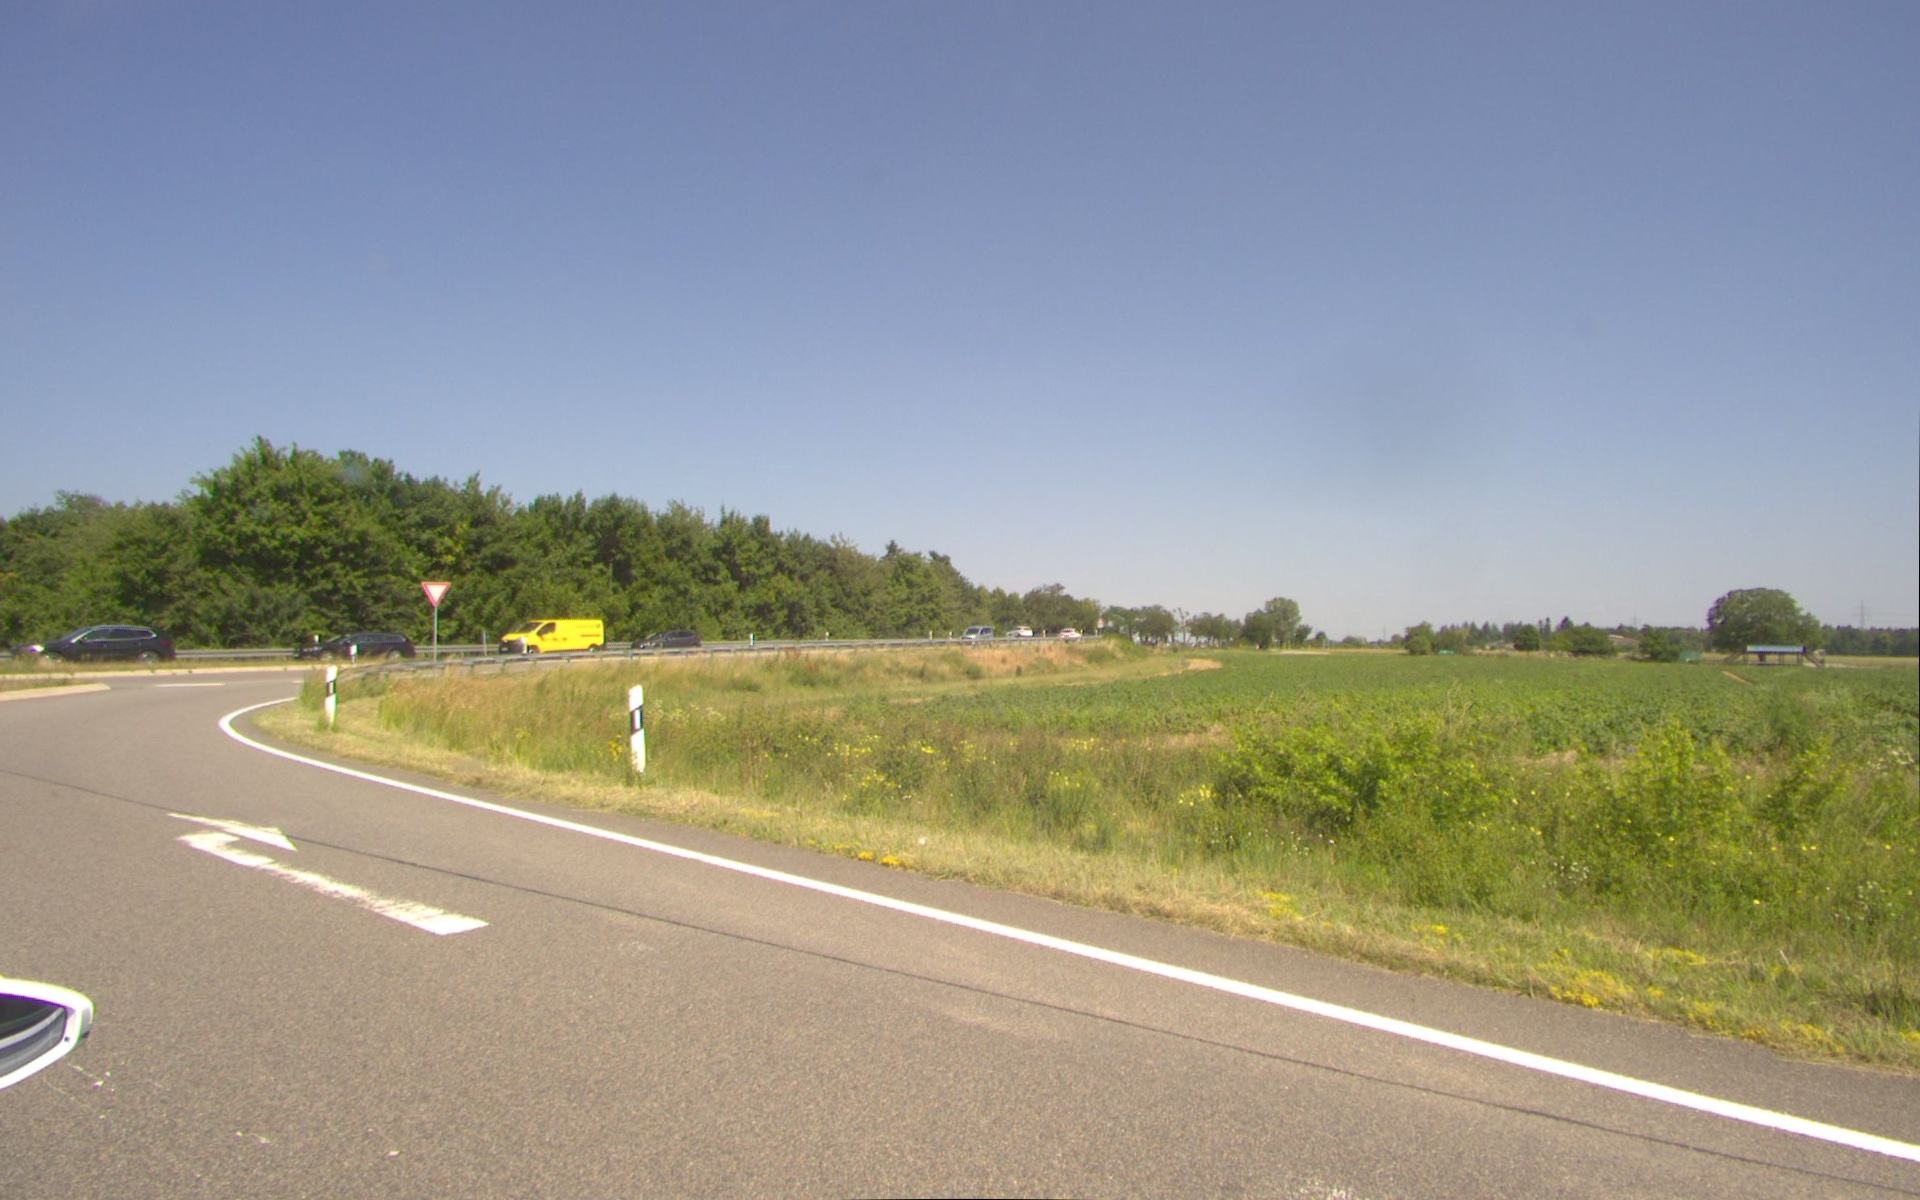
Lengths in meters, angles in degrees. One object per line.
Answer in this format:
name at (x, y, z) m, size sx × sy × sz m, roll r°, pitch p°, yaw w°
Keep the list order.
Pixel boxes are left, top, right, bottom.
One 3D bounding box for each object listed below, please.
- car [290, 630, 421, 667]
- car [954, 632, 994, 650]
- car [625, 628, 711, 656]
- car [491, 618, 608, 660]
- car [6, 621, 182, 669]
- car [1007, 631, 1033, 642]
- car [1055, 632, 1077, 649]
car at (-26.716, 2.101, 44.389) m, size 1.831 × 1.533 × 4.664 m, roll -2°, pitch -2°, yaw 39°
car at (1.304, 3.647, 88.885) m, size 1.823 × 1.533 × 4.685 m, roll -1°, pitch -2°, yaw 24°
car at (-16.609, 2.354, 57.156) m, size 1.828 × 1.533 × 4.671 m, roll -1°, pitch -2°, yaw 34°
car at (-20.654, 1.957, 50.628) m, size 1.972 × 2.039 × 5.312 m, roll -1°, pitch -2°, yaw 33°
car at (-30.832, 1.580, 35.779) m, size 1.744 × 1.618 × 4.475 m, roll -1°, pitch -2°, yaw 34°
car at (8.240, 5.006, 137.638) m, size 1.711 × 1.587 × 4.469 m, roll 0°, pitch -2°, yaw -24°
car at (11.075, 4.224, 104.488) m, size 1.707 × 1.587 × 4.479 m, roll -1°, pitch 0°, yaw 14°
